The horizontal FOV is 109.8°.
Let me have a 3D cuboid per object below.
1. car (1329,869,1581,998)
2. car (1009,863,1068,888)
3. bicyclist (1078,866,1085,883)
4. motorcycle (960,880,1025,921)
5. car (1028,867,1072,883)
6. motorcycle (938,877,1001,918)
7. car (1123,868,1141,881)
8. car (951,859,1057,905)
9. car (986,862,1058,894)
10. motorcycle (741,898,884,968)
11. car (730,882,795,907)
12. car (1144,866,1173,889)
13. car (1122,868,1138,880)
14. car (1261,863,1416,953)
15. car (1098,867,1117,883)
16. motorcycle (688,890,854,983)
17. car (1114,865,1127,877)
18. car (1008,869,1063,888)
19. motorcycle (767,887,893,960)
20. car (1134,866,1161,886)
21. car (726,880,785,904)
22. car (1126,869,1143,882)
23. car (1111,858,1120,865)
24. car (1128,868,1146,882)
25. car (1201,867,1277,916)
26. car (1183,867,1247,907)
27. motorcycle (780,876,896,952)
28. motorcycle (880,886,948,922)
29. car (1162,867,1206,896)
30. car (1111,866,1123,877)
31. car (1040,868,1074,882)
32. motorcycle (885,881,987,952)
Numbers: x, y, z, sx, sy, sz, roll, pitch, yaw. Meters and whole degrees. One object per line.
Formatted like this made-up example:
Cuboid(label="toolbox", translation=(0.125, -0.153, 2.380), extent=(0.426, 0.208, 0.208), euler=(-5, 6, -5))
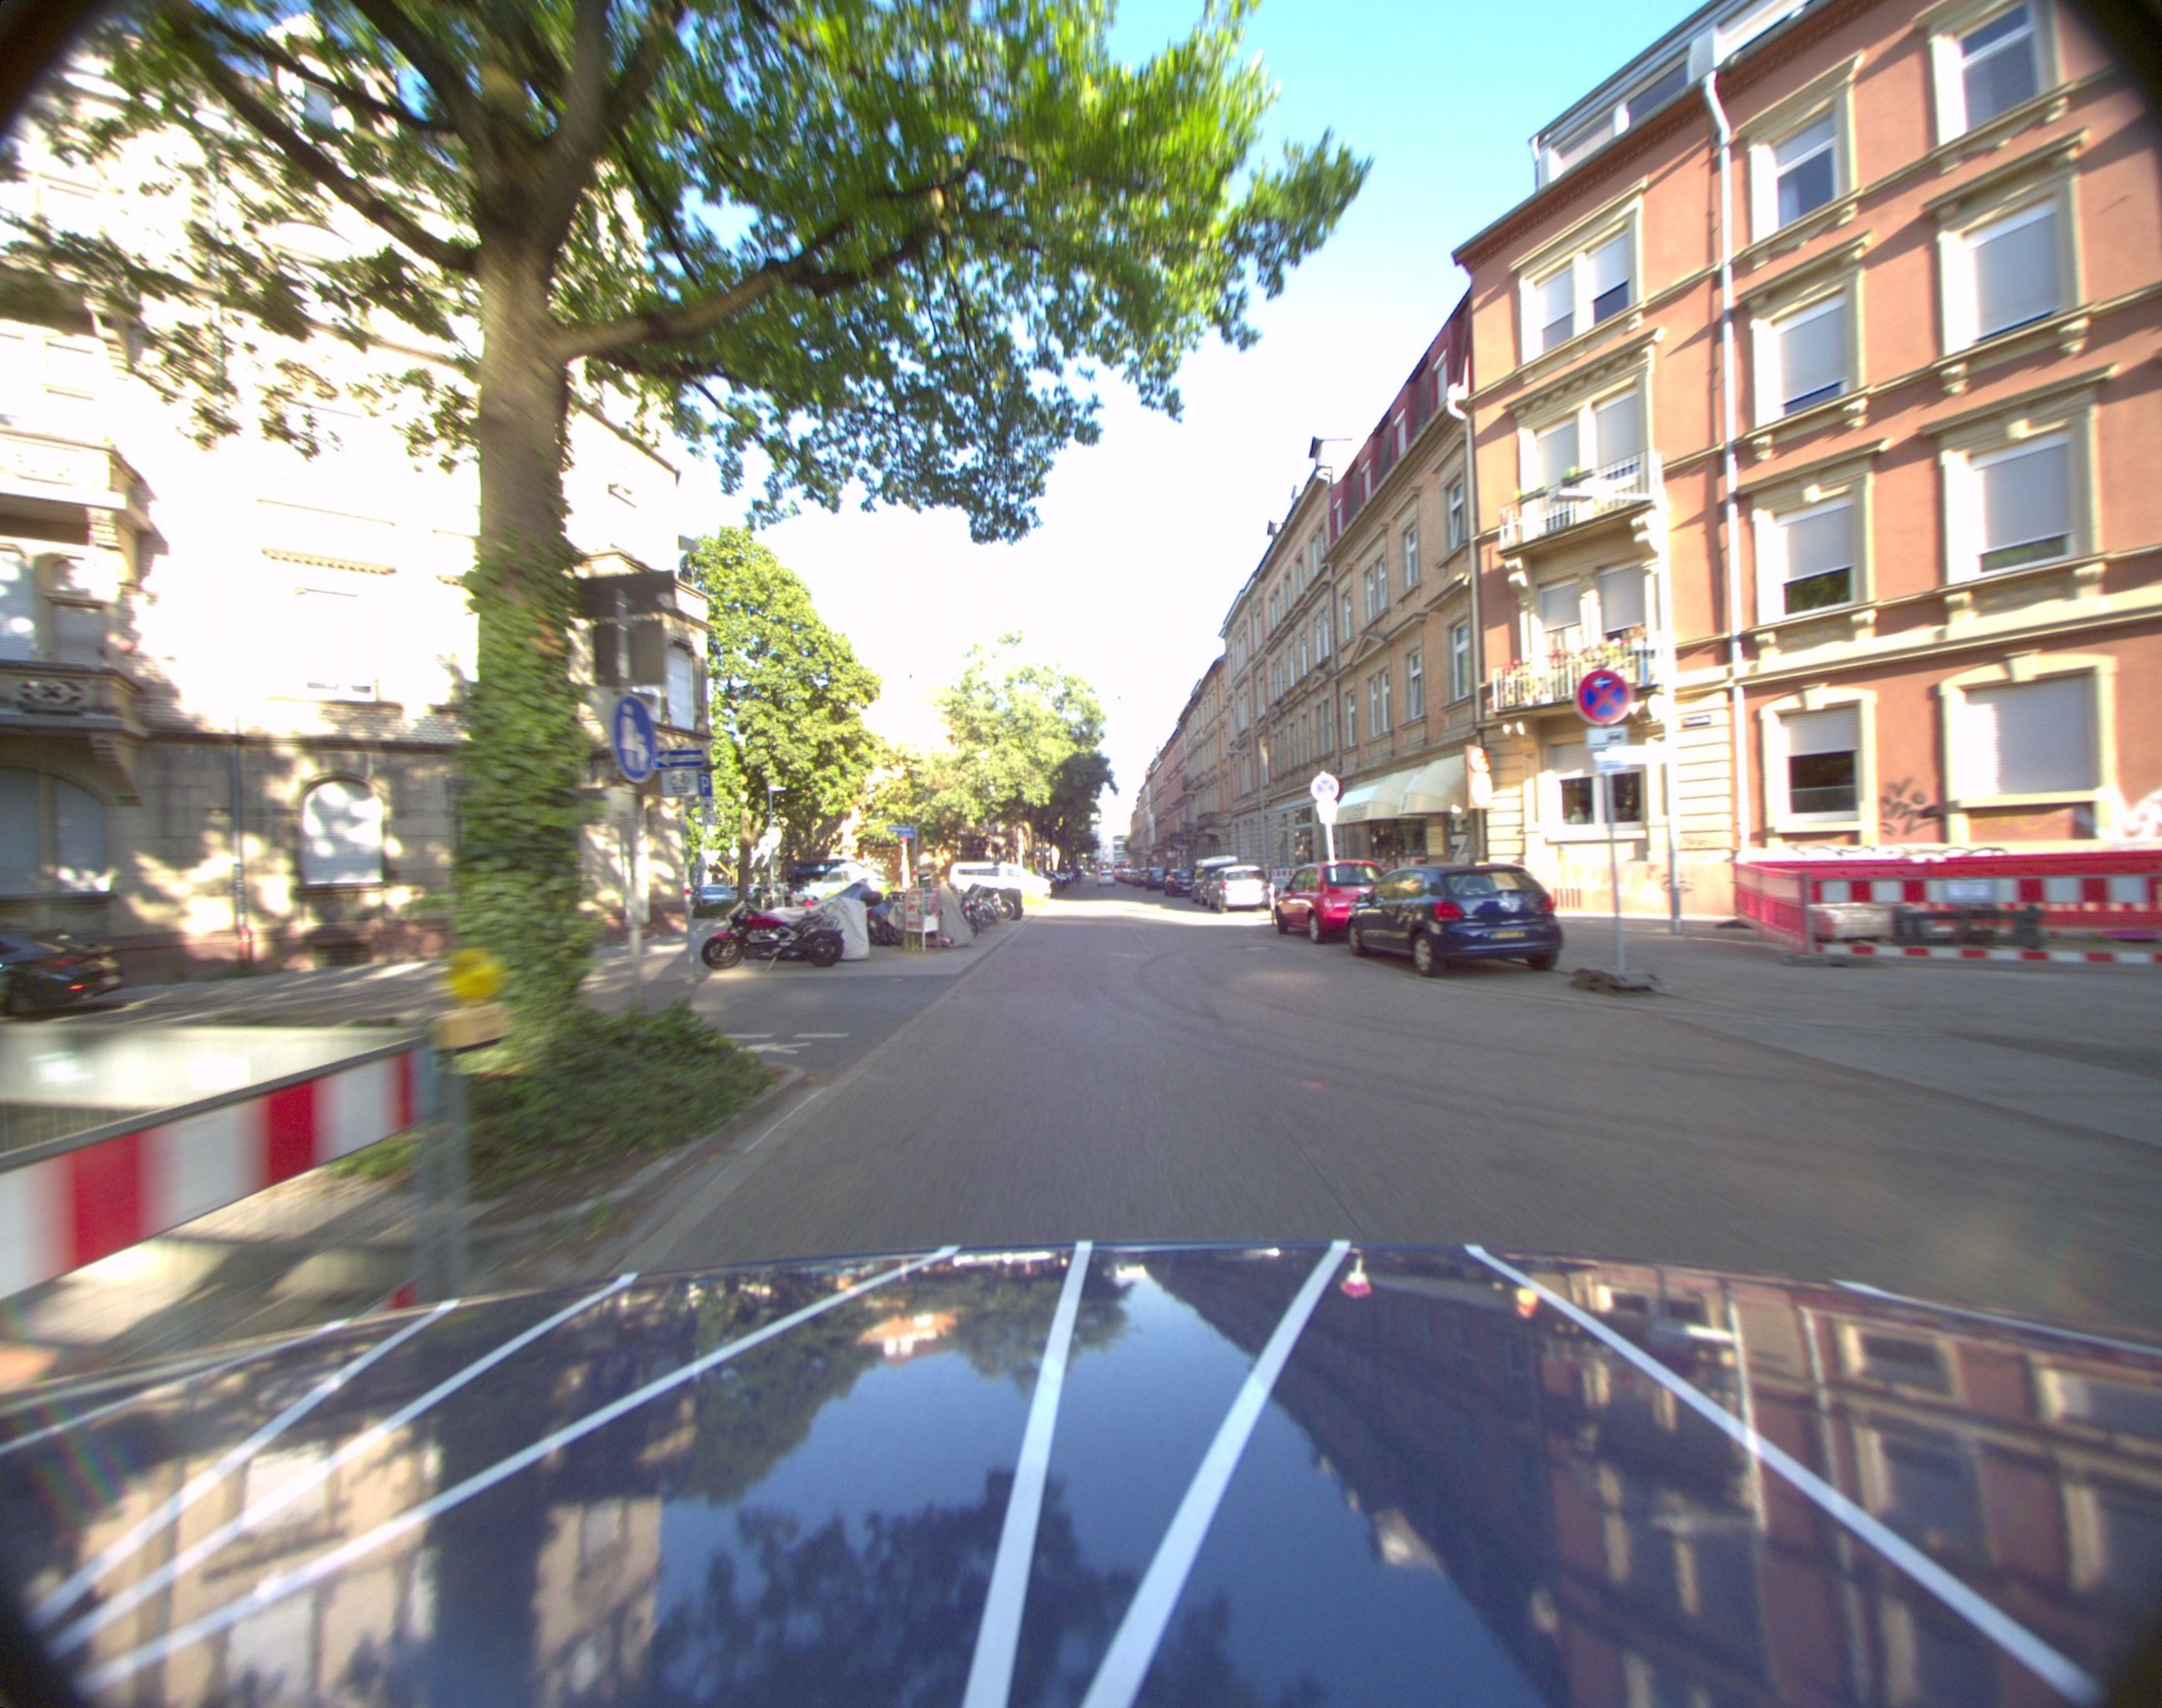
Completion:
Cuboid(label="car", translation=(5.117, 0.990, 11.068), extent=(1.673, 1.449, 4.000), euler=(-2, -1, 0))
Cuboid(label="car", translation=(-3.797, 1.905, 68.619), extent=(5.104, 1.929, 2.157), euler=(-2, 3, 1))
Cuboid(label="bicyclist", translation=(0.064, 2.253, 84.663), extent=(0.712, 1.864, 1.120), euler=(-1, -1, 1))
Cuboid(label="motorcycle", translation=(-2.879, 1.514, 24.911), extent=(2.028, 1.277, 0.904), euler=(0, -1, -1))
Cuboid(label="car", translation=(-3.299, 2.256, 81.889), extent=(4.563, 1.520, 2.001), euler=(-2, -1, 2))
Cuboid(label="motorcycle", translation=(-3.788, 1.478, 25.905), extent=(2.028, 1.354, 0.694), euler=(-1, -1, 1))
Cuboid(label="car", translation=(6.100, 2.450, 91.413), extent=(1.825, 1.468, 4.424), euler=(-3, -1, 1))
Cuboid(label="car", translation=(-3.780, 1.394, 38.052), extent=(4.986, 2.083, 2.106), euler=(-2, -1, 1))
Cuboid(label="car", translation=(-3.926, 1.584, 51.003), extent=(4.627, 2.001, 2.000), euler=(-2, -1, -2))
Cuboid(label="motorcycle", translation=(-4.964, 1.459, 14.104), extent=(2.286, 1.173, 0.972), euler=(-2, 0, 13))
Cuboid(label="car", translation=(-22.965, 2.896, 54.905), extent=(4.001, 1.555, 1.780), euler=(-3, -1, -14))
Cuboid(label="car", translation=(5.617, 1.693, 55.211), extent=(1.746, 1.558, 3.896), euler=(-2, -1, 1))
Cuboid(label="car", translation=(6.260, 2.610, 97.958), extent=(1.825, 1.417, 4.314), euler=(-3, -1, 1))
Cuboid(label="car", translation=(5.057, 0.986, 15.522), extent=(1.674, 1.521, 4.000), euler=(-2, -1, -2))
Cuboid(label="car", translation=(2.554, 2.006, 73.967), extent=(1.753, 1.500, 4.001), euler=(-2, -1, 1))
Cuboid(label="motorcycle", translation=(-5.113, 1.346, 12.703), extent=(2.372, 1.333, 0.940), euler=(-2, 0, -9))
Cuboid(label="car", translation=(6.823, 2.959, 131.496), extent=(1.847, 1.822, 4.607), euler=(-3, -1, 0))
Cuboid(label="car", translation=(-3.759, 2.062, 63.308), extent=(4.380, 1.447, 1.934), euler=(-1, -1, 1))
Cuboid(label="motorcycle", translation=(-4.935, 1.368, 14.956), extent=(2.286, 1.333, 0.657), euler=(-2, 0, 12))
Cuboid(label="car", translation=(5.739, 1.932, 66.273), extent=(1.652, 1.564, 4.049), euler=(-5, -1, -3))
Cuboid(label="car", translation=(-26.110, 3.039, 61.018), extent=(4.001, 1.710, 1.780), euler=(-3, -1, -11))
Cuboid(label="car", translation=(6.046, 2.437, 86.521), extent=(1.709, 1.315, 4.102), euler=(-2, -1, 1))
Cuboid(label="car", translation=(7.753, 1.691, 169.863), extent=(1.868, 1.619, 3.826), euler=(-3, -1, 2))
Cuboid(label="car", translation=(6.007, 2.282, 81.901), extent=(1.709, 1.430, 3.960), euler=(-2, -1, 1))
Cuboid(label="car", translation=(5.239, 1.201, 25.698), extent=(1.729, 1.428, 3.997), euler=(-4, -1, 1))
Cuboid(label="car", translation=(5.370, 1.299, 31.071), extent=(1.769, 1.428, 4.301), euler=(-2, -1, -1))
Cuboid(label="motorcycle", translation=(-5.384, 1.312, 16.928), extent=(2.289, 1.522, 0.755), euler=(-2, 0, -5))
Cuboid(label="motorcycle", translation=(-5.486, 1.631, 25.034), extent=(2.028, 1.102, 0.904), euler=(-1, -1, -1))
Cuboid(label="car", translation=(5.491, 1.460, 40.906), extent=(1.708, 1.445, 4.020), euler=(-2, -1, 0))
Cuboid(label="car", translation=(7.045, 3.423, 148.791), extent=(1.947, 2.044, 4.746), euler=(-3, -1, 1))
Cuboid(label="car", translation=(-3.191, 2.839, 103.234), extent=(4.487, 1.646, 1.891), euler=(-2, 1, 0))
Cuboid(label="motorcycle", translation=(-3.115, 1.320, 16.262), extent=(1.933, 1.404, 0.942), euler=(-3, 0, 29))
